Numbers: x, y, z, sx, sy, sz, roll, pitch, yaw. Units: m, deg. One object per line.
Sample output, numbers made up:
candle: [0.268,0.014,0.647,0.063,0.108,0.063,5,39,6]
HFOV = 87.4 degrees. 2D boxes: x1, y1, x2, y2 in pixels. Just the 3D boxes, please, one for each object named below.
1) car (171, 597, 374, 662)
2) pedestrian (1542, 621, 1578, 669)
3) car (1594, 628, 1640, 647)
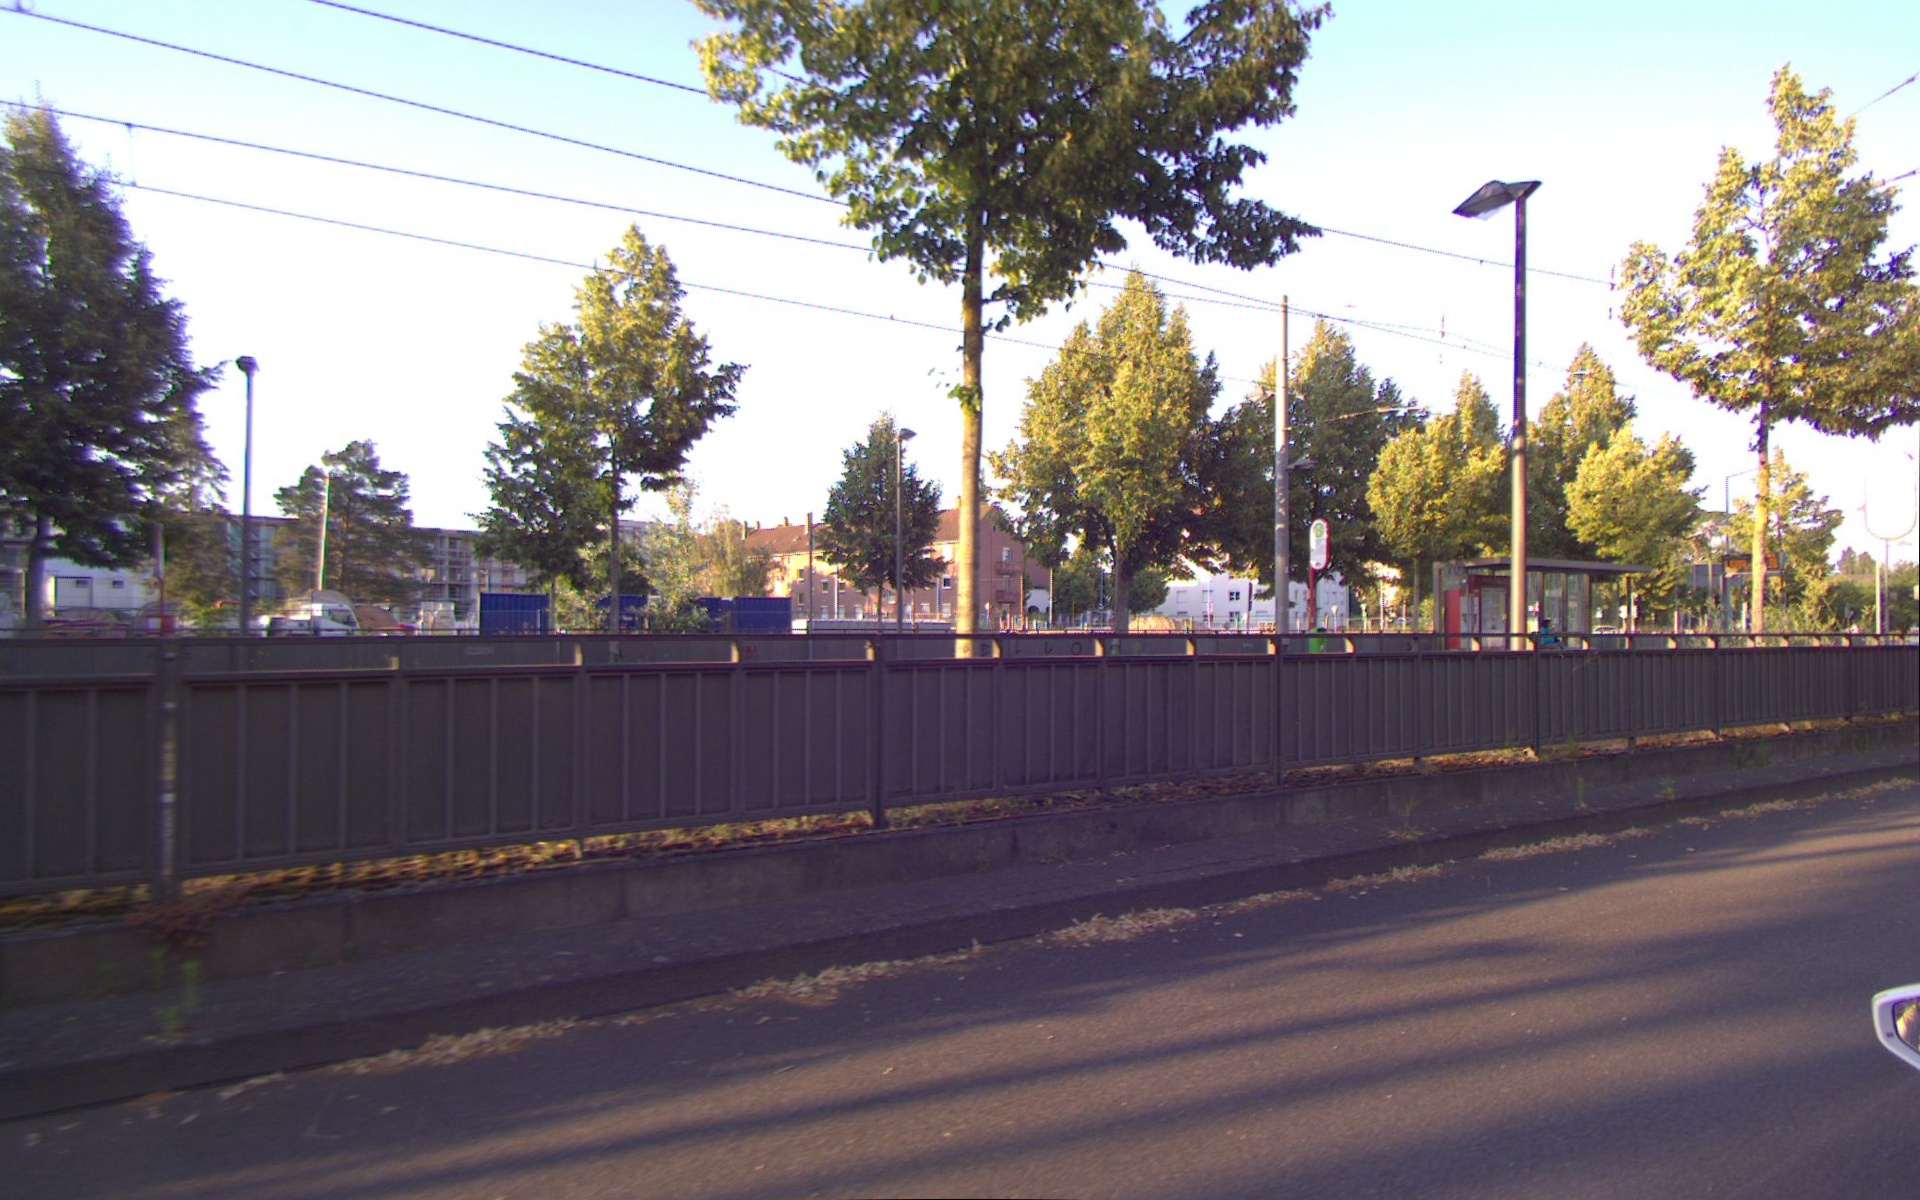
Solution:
car: [-25.906,1.091,38.084,2.384,2.254,5.896,-1,-1,37]
pedestrian: [17.037,1.273,28.507,0.737,1.337,0.611,1,-1,-33]
car: [59.922,3.436,91.575,3.952,1.684,1.984,1,-1,-30]
